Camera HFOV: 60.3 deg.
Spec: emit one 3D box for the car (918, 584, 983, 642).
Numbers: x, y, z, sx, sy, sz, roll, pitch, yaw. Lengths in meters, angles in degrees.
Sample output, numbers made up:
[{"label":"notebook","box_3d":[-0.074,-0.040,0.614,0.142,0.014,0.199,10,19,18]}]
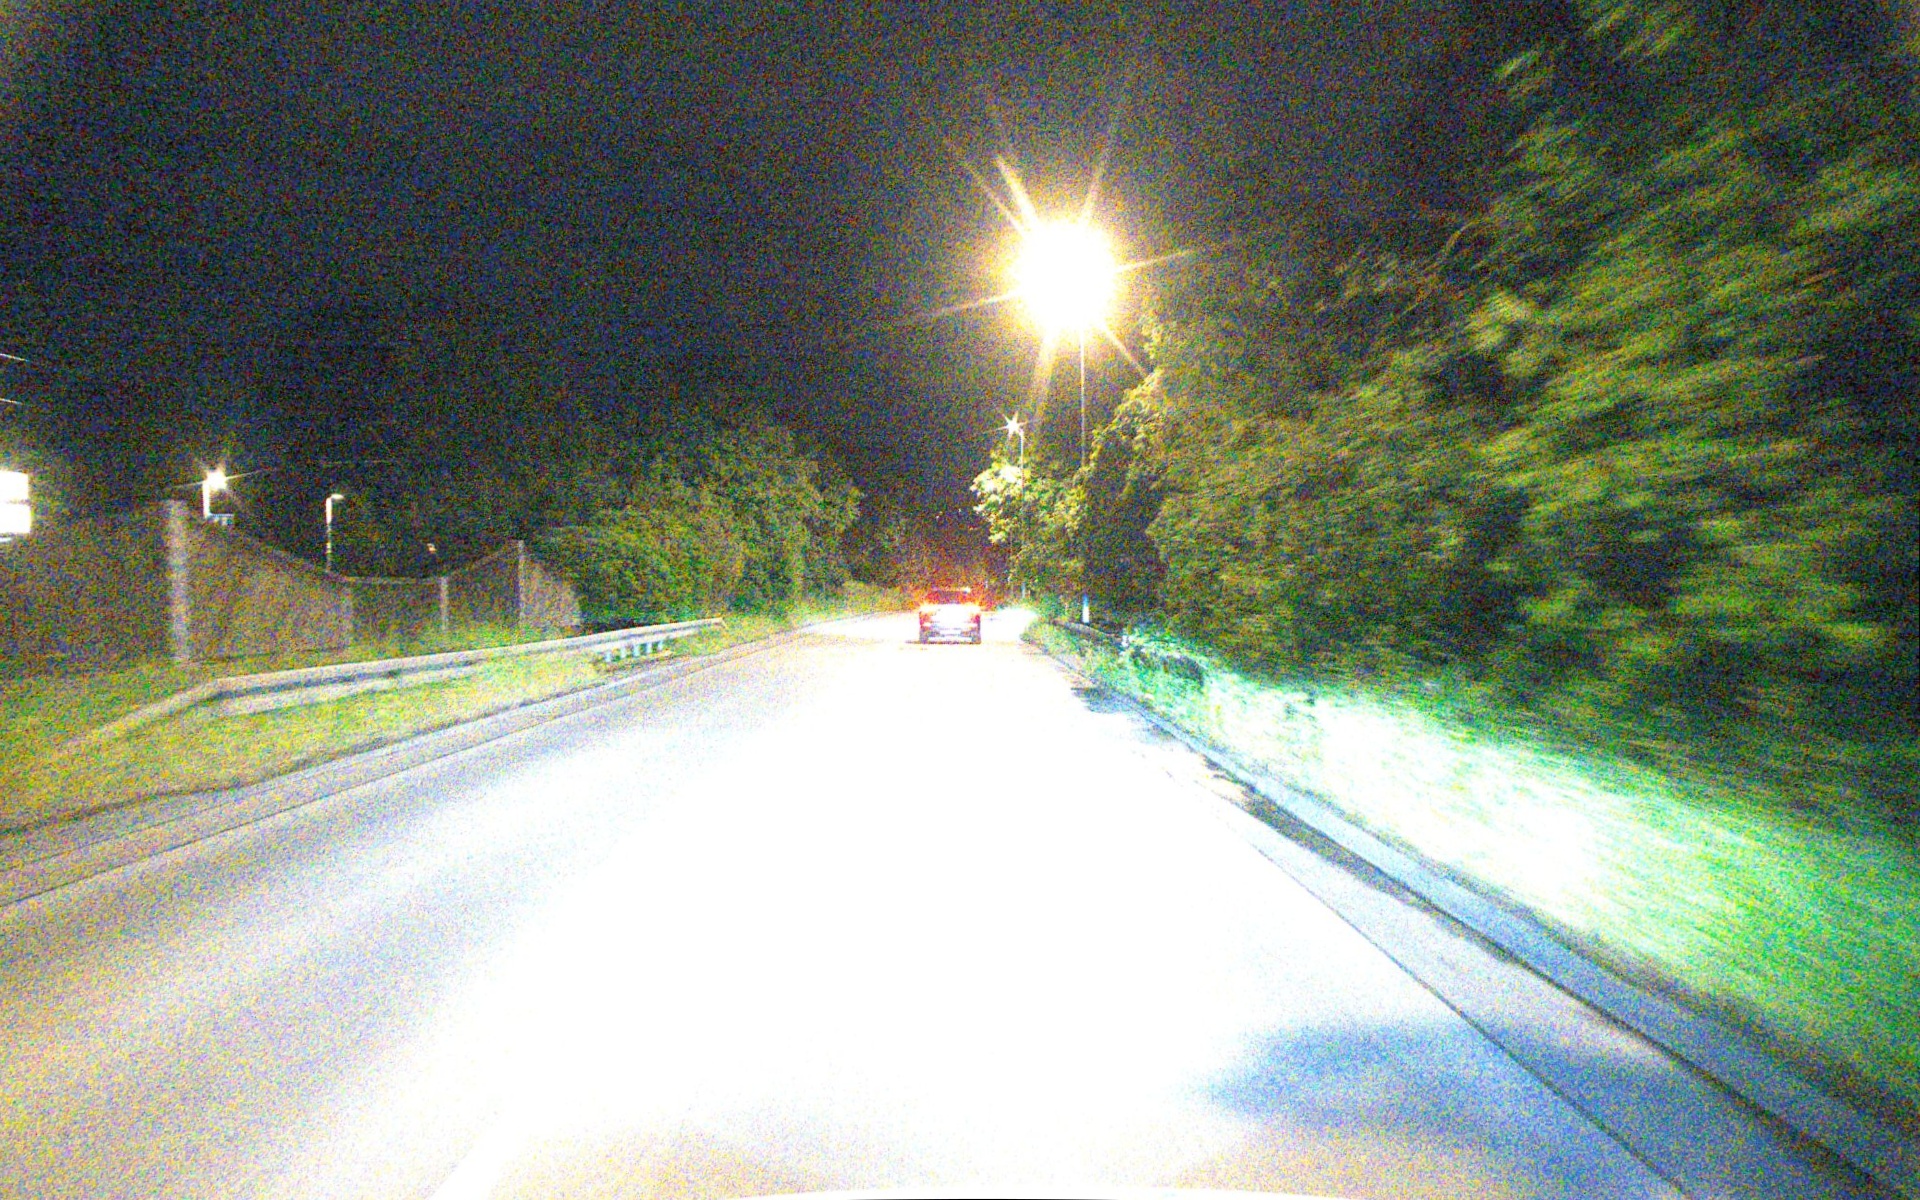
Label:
[{"label":"car","box_3d":[-0.259,0.341,47.931,1.777,1.601,3.943,0,0,0]}]
